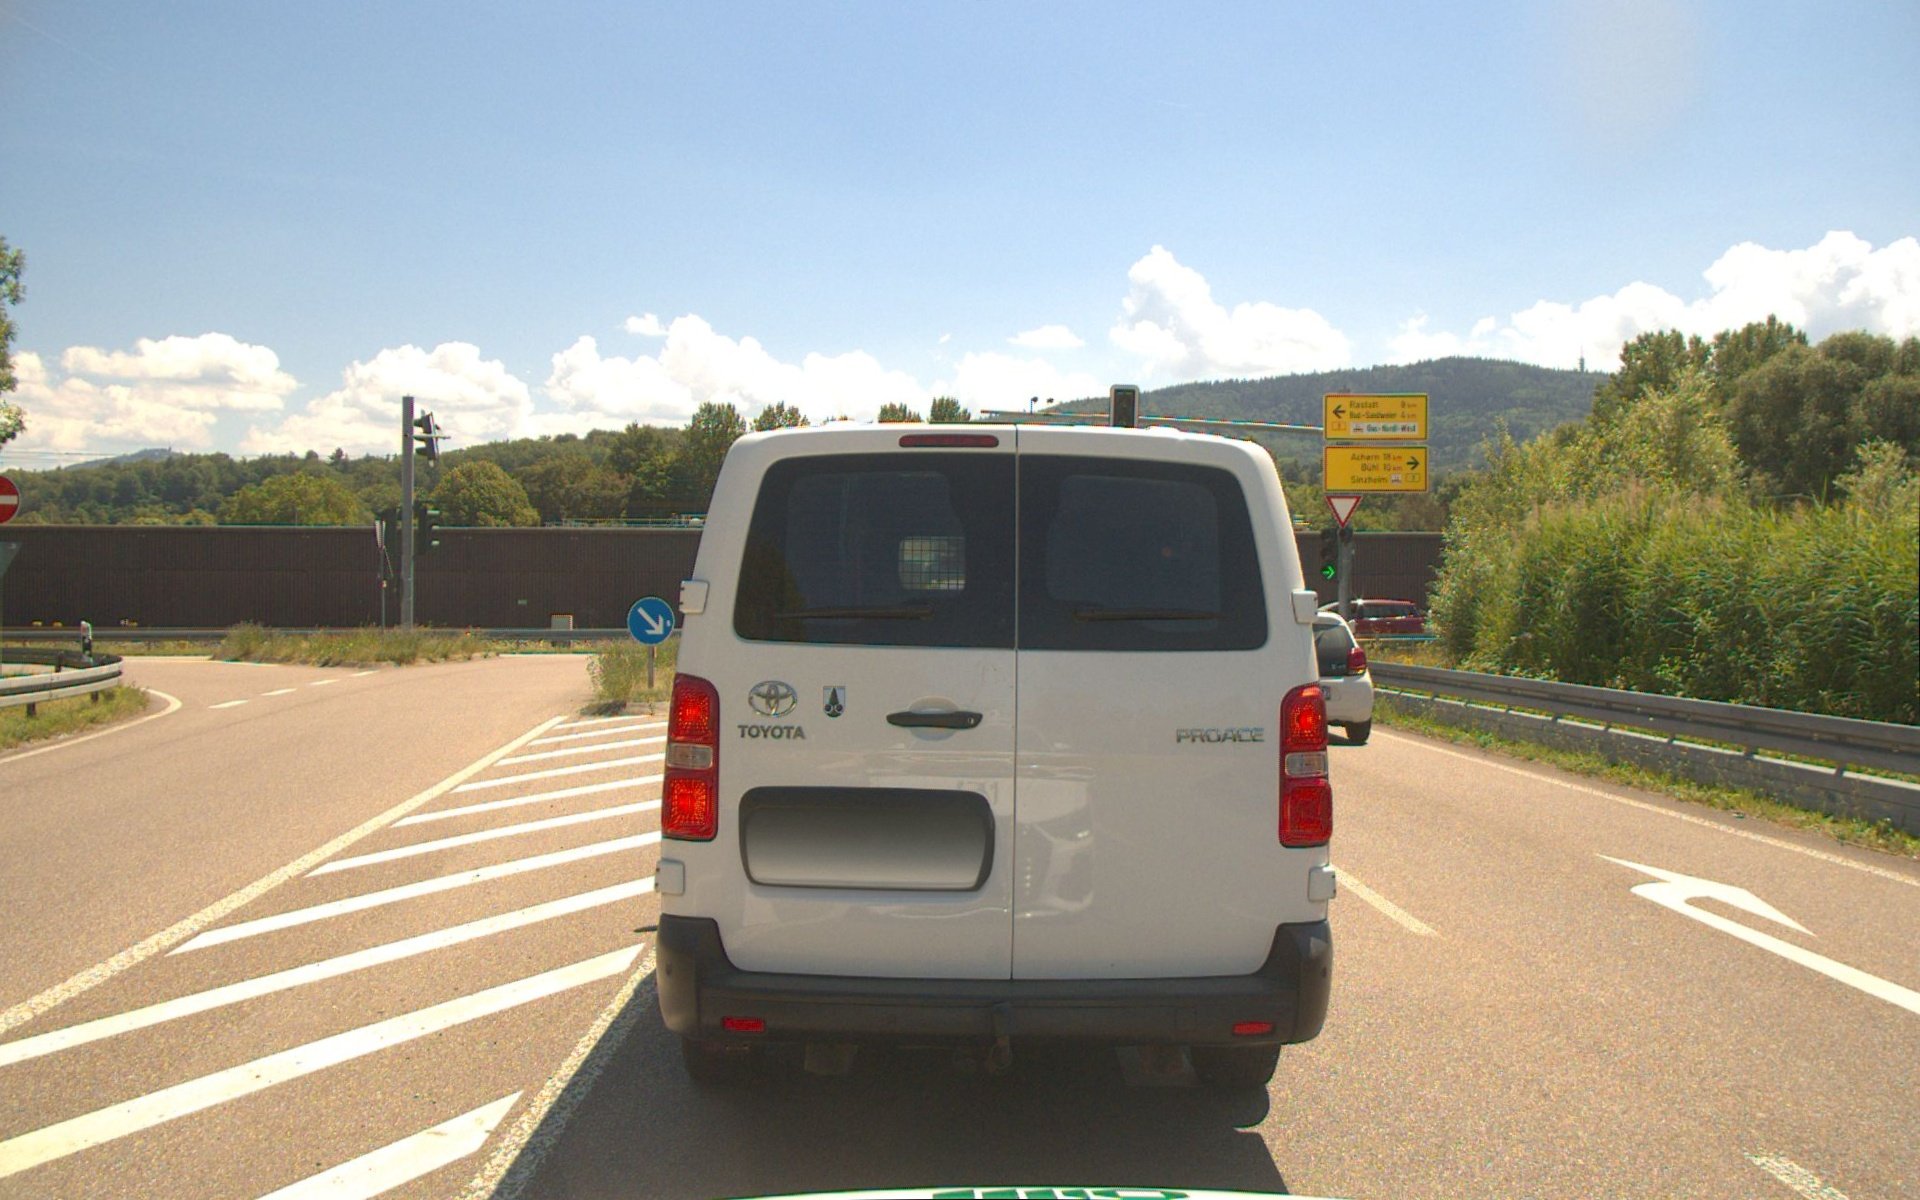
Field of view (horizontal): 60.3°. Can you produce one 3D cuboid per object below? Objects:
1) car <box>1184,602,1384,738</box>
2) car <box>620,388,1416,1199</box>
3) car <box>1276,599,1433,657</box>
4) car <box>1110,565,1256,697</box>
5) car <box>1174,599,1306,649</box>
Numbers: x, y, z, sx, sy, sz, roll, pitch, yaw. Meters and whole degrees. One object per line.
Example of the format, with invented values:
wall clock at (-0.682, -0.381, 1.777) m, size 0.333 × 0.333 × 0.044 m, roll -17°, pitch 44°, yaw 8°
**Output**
car at (3.754, 0.764, 19.673) m, size 1.622 × 1.456 × 3.364 m, roll 1°, pitch 0°, yaw -2°
car at (0.100, 0.485, 5.886) m, size 1.848 × 1.919 × 3.999 m, roll 1°, pitch 0°, yaw -1°
car at (11.874, 0.831, 49.997) m, size 4.225 × 1.685 × 1.998 m, roll 0°, pitch 0°, yaw -4°
car at (3.699, 0.496, 28.253) m, size 1.889 × 2.035 × 4.838 m, roll 1°, pitch 0°, yaw 1°
car at (9.020, 0.773, 53.469) m, size 3.906 × 1.583 × 1.999 m, roll 0°, pitch 0°, yaw -1°
